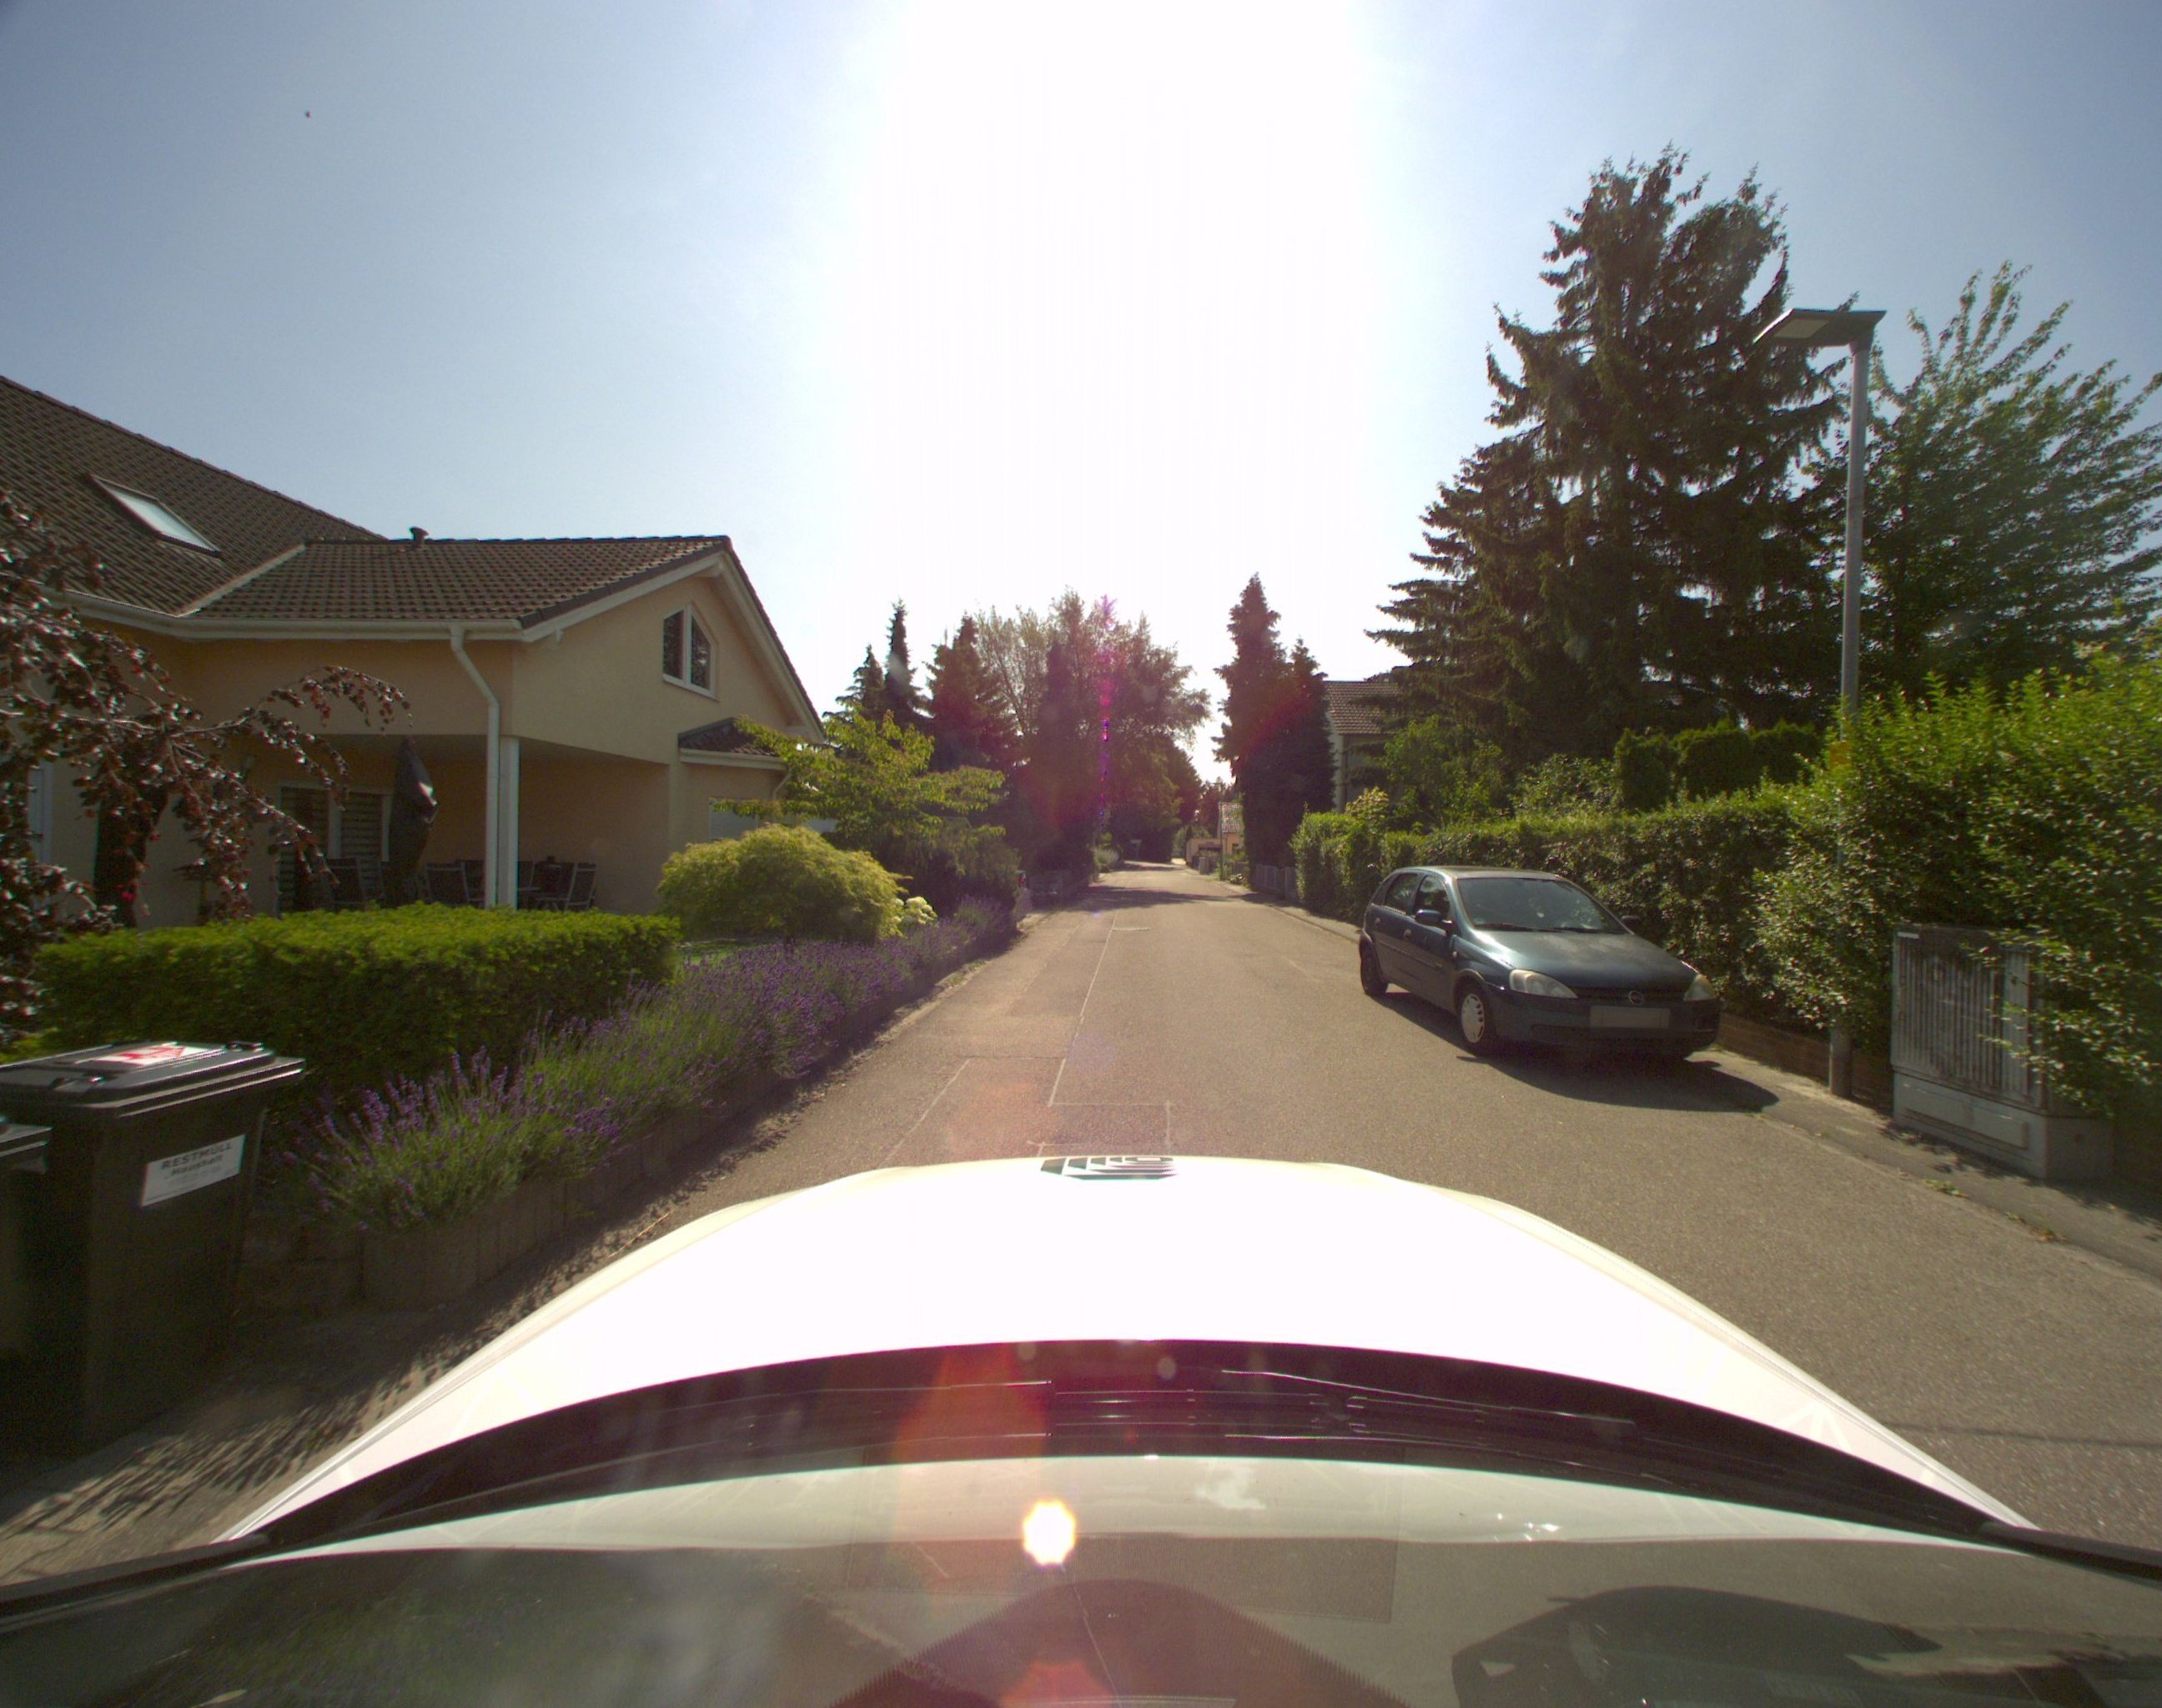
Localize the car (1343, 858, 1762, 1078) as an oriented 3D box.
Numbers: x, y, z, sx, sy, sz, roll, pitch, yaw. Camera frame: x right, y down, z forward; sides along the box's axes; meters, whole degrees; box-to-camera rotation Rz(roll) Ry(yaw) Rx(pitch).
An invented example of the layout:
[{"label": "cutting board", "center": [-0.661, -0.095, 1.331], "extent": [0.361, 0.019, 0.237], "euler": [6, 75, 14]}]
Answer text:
[{"label": "car", "center": [3.828, 0.779, 7.510], "extent": [1.695, 1.399, 4.003], "euler": [1, 0, 3]}]

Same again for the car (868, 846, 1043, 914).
[{"label": "car", "center": [-2.839, 0.568, 18.994], "extent": [3.721, 1.445, 1.757], "euler": [1, 1, 2]}]

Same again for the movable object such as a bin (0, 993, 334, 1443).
[{"label": "movable object such as a bin", "center": [-2.520, 0.940, 2.250], "extent": [0.492, 1.024, 0.448], "euler": [0, 0, 4]}]

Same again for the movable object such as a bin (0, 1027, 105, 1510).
[{"label": "movable object such as a bin", "center": [-2.640, 0.939, 1.774], "extent": [0.492, 1.024, 0.448], "euler": [0, 0, 4]}]
